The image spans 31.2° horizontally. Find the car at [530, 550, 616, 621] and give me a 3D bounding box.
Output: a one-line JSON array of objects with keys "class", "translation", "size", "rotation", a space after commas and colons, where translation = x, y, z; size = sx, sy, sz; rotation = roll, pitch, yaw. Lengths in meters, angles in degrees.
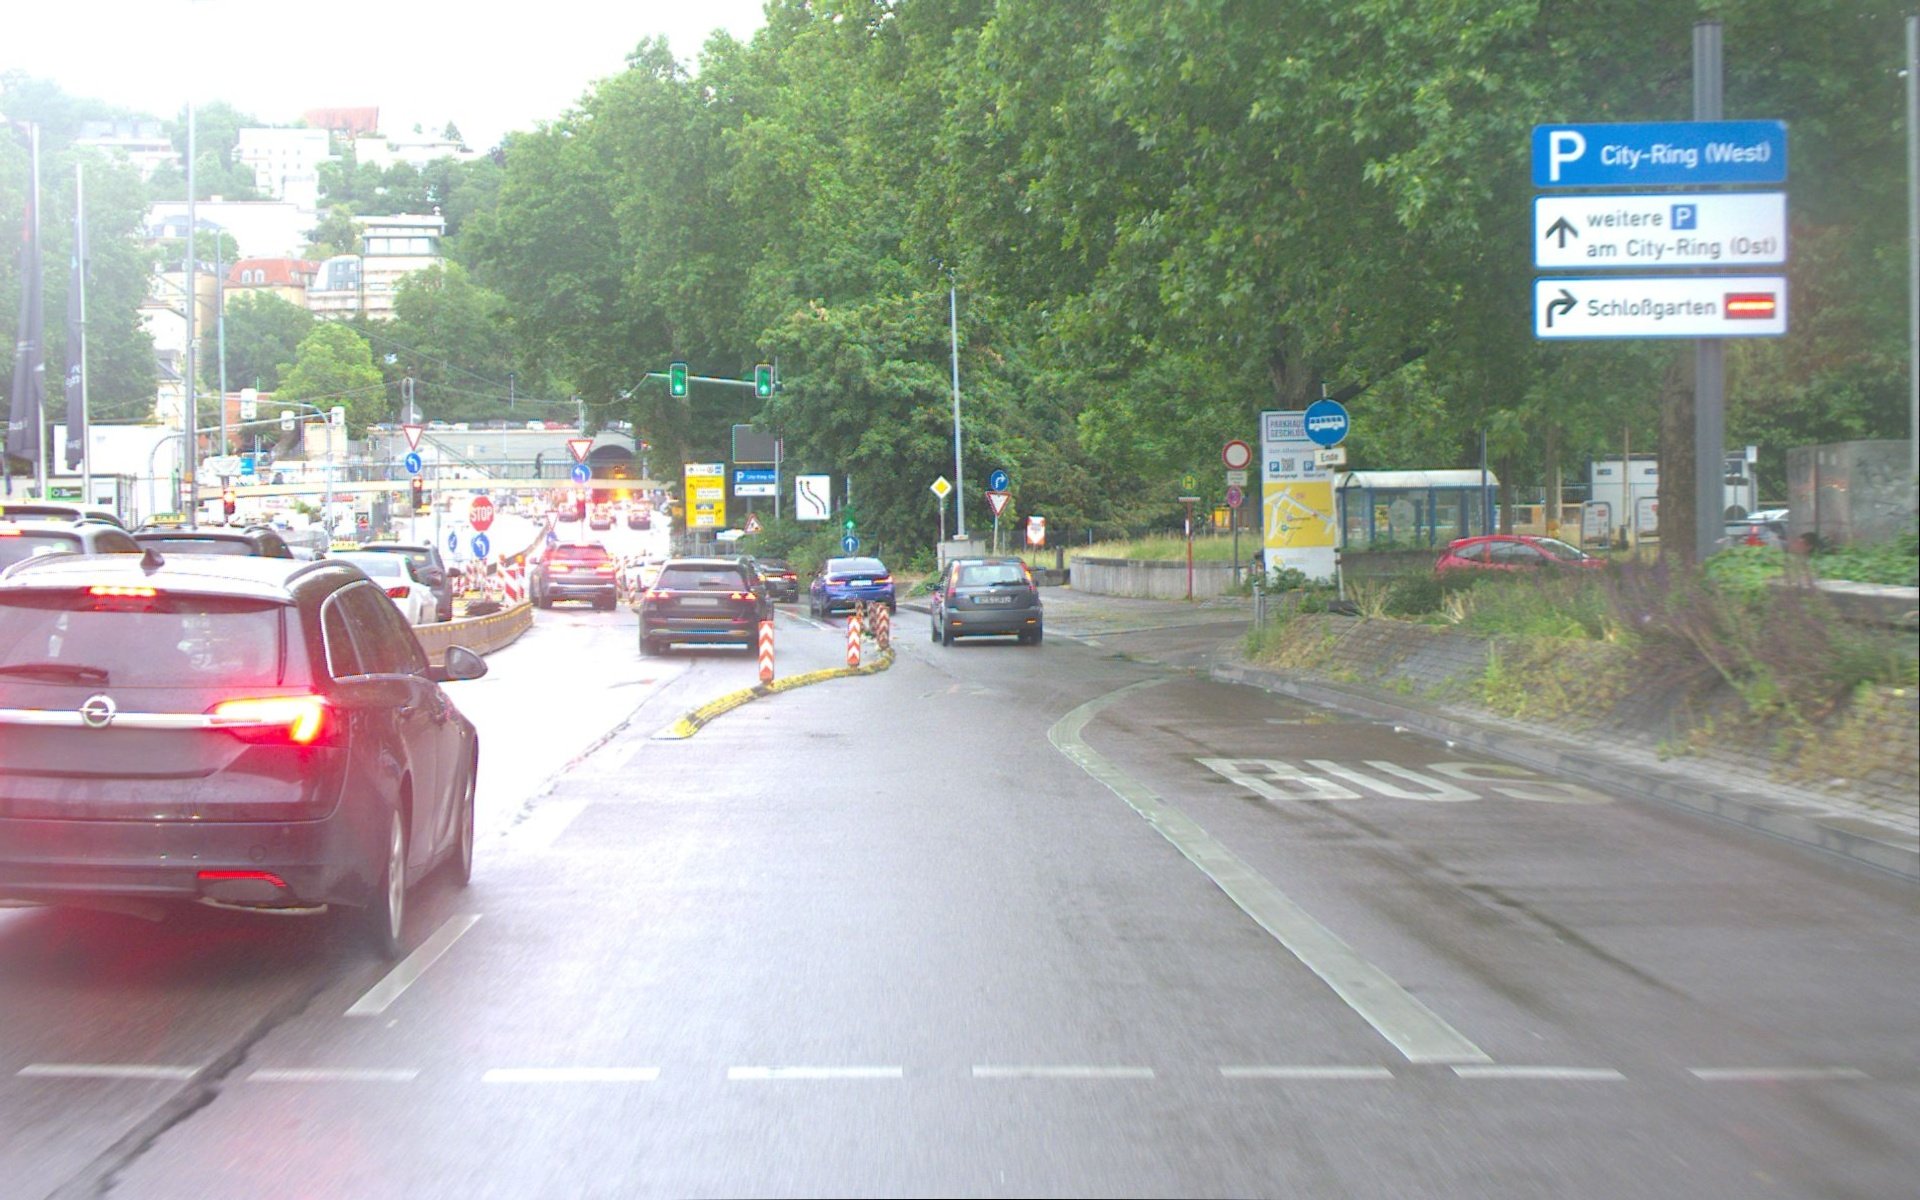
[{"class": "car", "translation": [-10.321, -0.395, 91.457], "size": [1.993, 1.820, 4.001], "rotation": [1, 0, -10]}]

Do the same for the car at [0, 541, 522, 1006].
[{"class": "car", "translation": [-2.951, 0.527, 13.551], "size": [1.877, 1.503, 4.852], "rotation": [0, 1, -1]}]

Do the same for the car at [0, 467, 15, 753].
[{"class": "car", "translation": [-7.038, 0.068, 19.953], "size": [1.993, 1.839, 5.063], "rotation": [1, 0, -4]}]

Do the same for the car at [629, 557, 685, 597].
[{"class": "car", "translation": [-12.038, -0.920, 136.430], "size": [1.813, 1.569, 4.001], "rotation": [1, 0, -10]}]

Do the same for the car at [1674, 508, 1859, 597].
[{"class": "car", "translation": [18.906, -1.096, 80.474], "size": [2.132, 2.007, 4.637], "rotation": [1, 0, 44]}]

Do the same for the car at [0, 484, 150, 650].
[{"class": "car", "translation": [-11.902, -0.425, 44.447], "size": [1.993, 2.007, 5.370], "rotation": [1, 0, -5]}]

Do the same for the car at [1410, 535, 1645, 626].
[{"class": "car", "translation": [9.819, -0.344, 59.596], "size": [3.615, 1.500, 1.730], "rotation": [1, 0, 39]}]

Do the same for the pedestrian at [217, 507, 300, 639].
[{"class": "pedestrian", "translation": [-10.812, -0.421, 53.025], "size": [1.025, 2.007, 0.836], "rotation": [0, 1, 9]}]

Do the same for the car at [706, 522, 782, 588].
[{"class": "car", "translation": [-5.805, -1.193, 92.789], "size": [1.904, 1.711, 4.000], "rotation": [1, 0, -2]}]

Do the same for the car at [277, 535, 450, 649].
[{"class": "car", "translation": [-8.833, -0.139, 51.243], "size": [1.993, 1.562, 4.876], "rotation": [-2, 1, -4]}]

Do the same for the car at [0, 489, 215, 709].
[{"class": "car", "translation": [-7.583, -0.034, 28.993], "size": [1.823, 1.690, 4.775], "rotation": [1, 0, -4]}]

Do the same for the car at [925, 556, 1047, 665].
[{"class": "car", "translation": [0.394, 0.152, 56.967], "size": [1.851, 1.711, 4.000], "rotation": [1, 0, -2]}]

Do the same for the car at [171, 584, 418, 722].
[{"class": "car", "translation": [-7.809, 0.578, 40.809], "size": [1.972, 1.506, 5.005], "rotation": [1, 0, 0]}]

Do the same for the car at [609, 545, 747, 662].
[{"class": "car", "translation": [-4.197, 0.024, 51.639], "size": [1.830, 1.680, 4.134], "rotation": [0, 1, -1]}]

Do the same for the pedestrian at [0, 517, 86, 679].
[{"class": "pedestrian", "translation": [-10.321, -0.032, 38.370], "size": [0.833, 1.777, 1.028], "rotation": [0, 1, 2]}]

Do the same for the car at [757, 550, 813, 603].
[{"class": "car", "translation": [-5.642, -0.756, 110.471], "size": [1.634, 1.619, 3.796], "rotation": [1, 0, -5]}]

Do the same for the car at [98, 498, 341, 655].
[{"class": "car", "translation": [-7.638, -0.246, 35.843], "size": [1.823, 1.506, 4.491], "rotation": [1, 0, -4]}]

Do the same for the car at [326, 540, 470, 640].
[{"class": "car", "translation": [-9.196, -0.178, 56.507], "size": [1.993, 1.525, 4.153], "rotation": [-2, 1, -5]}]

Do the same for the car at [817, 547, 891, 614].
[{"class": "car", "translation": [-2.551, -0.472, 83.052], "size": [1.674, 1.576, 3.239], "rotation": [1, 0, 0]}]
